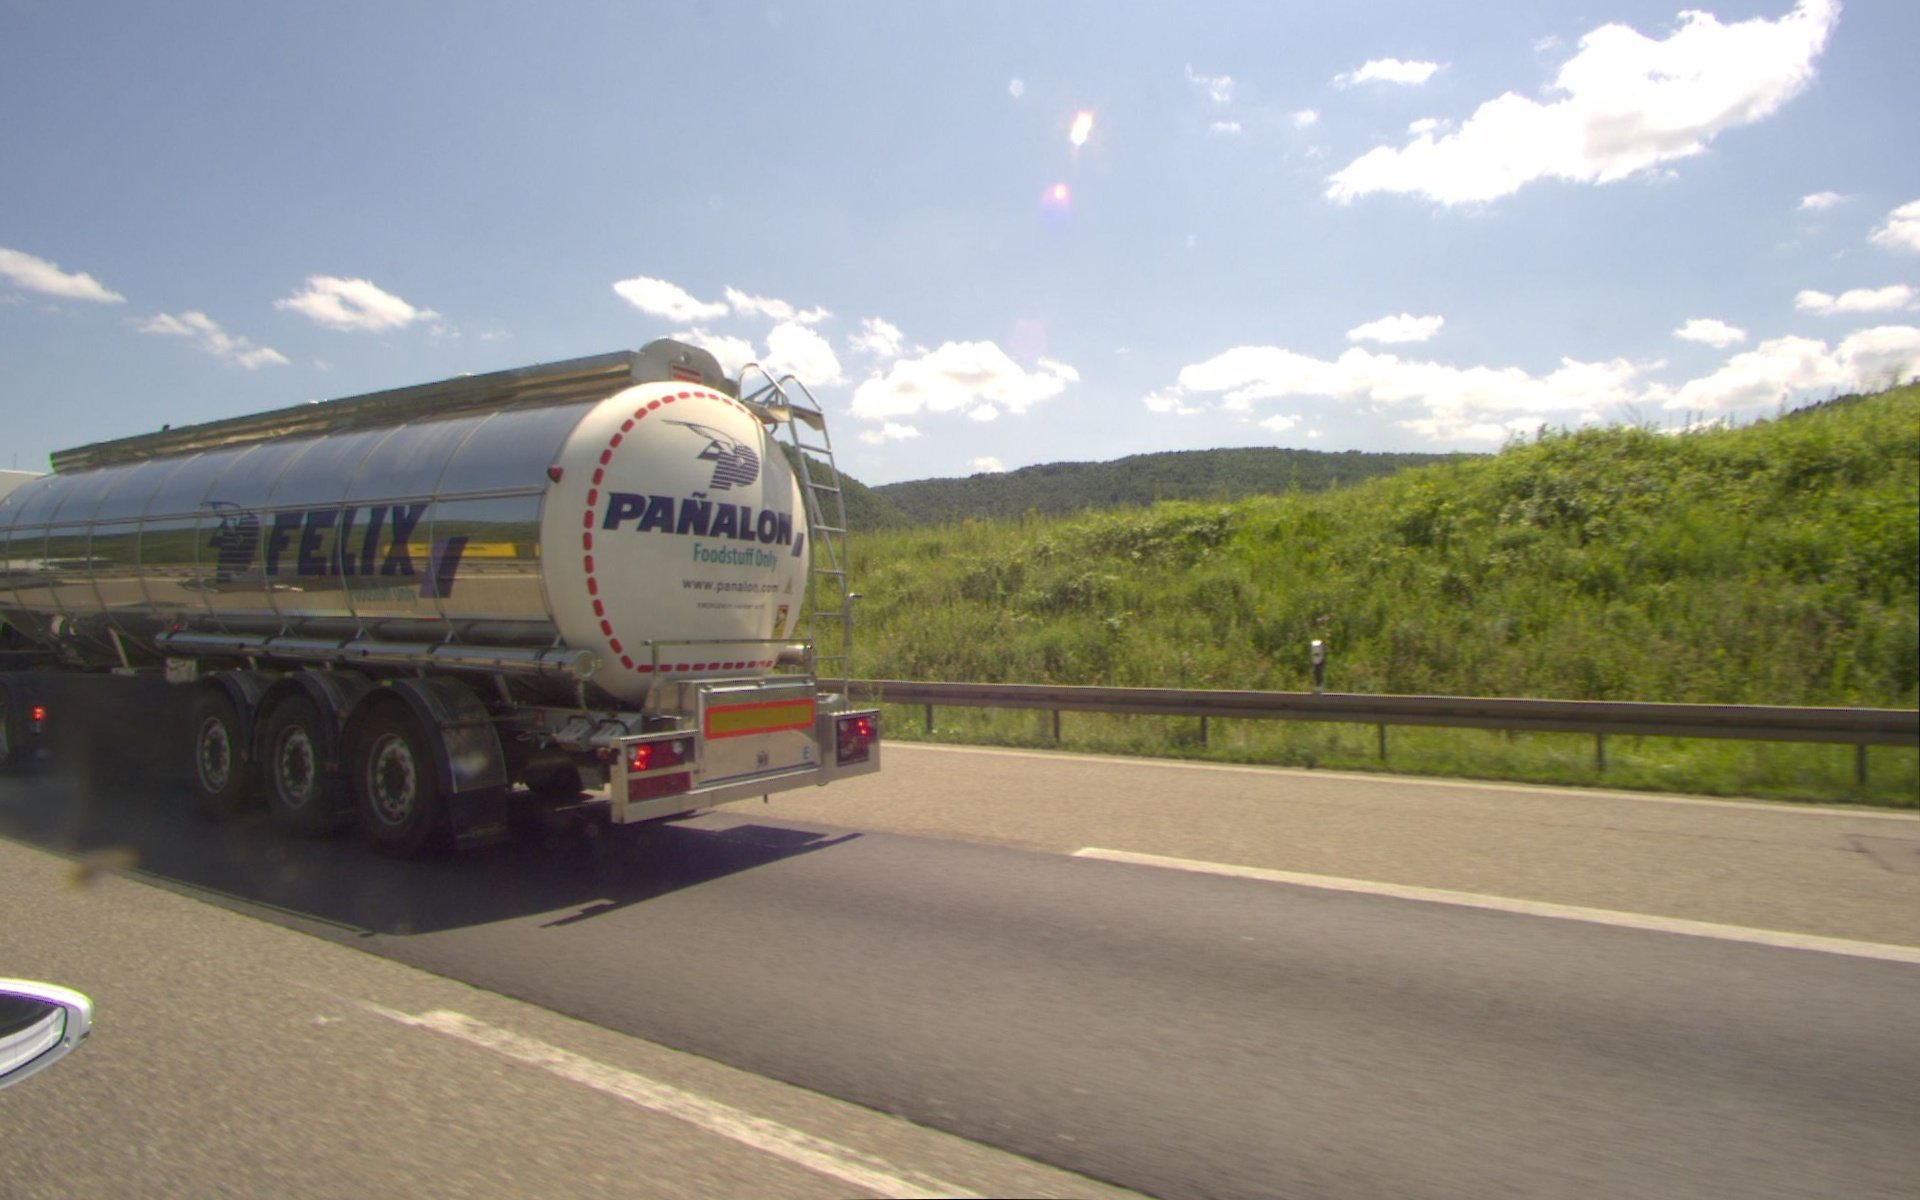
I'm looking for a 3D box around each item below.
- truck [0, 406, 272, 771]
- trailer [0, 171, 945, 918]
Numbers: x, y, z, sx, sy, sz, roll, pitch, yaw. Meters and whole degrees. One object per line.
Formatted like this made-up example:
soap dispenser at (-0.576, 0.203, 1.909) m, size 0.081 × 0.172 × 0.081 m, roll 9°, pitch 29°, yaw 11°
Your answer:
truck at (-11.502, -0.032, 12.874) m, size 5.170 × 3.806 × 2.508 m, roll -1°, pitch -2°, yaw 32°
trailer at (-5.735, -0.132, 9.259) m, size 11.721 × 3.783 × 2.534 m, roll -1°, pitch -2°, yaw 32°
